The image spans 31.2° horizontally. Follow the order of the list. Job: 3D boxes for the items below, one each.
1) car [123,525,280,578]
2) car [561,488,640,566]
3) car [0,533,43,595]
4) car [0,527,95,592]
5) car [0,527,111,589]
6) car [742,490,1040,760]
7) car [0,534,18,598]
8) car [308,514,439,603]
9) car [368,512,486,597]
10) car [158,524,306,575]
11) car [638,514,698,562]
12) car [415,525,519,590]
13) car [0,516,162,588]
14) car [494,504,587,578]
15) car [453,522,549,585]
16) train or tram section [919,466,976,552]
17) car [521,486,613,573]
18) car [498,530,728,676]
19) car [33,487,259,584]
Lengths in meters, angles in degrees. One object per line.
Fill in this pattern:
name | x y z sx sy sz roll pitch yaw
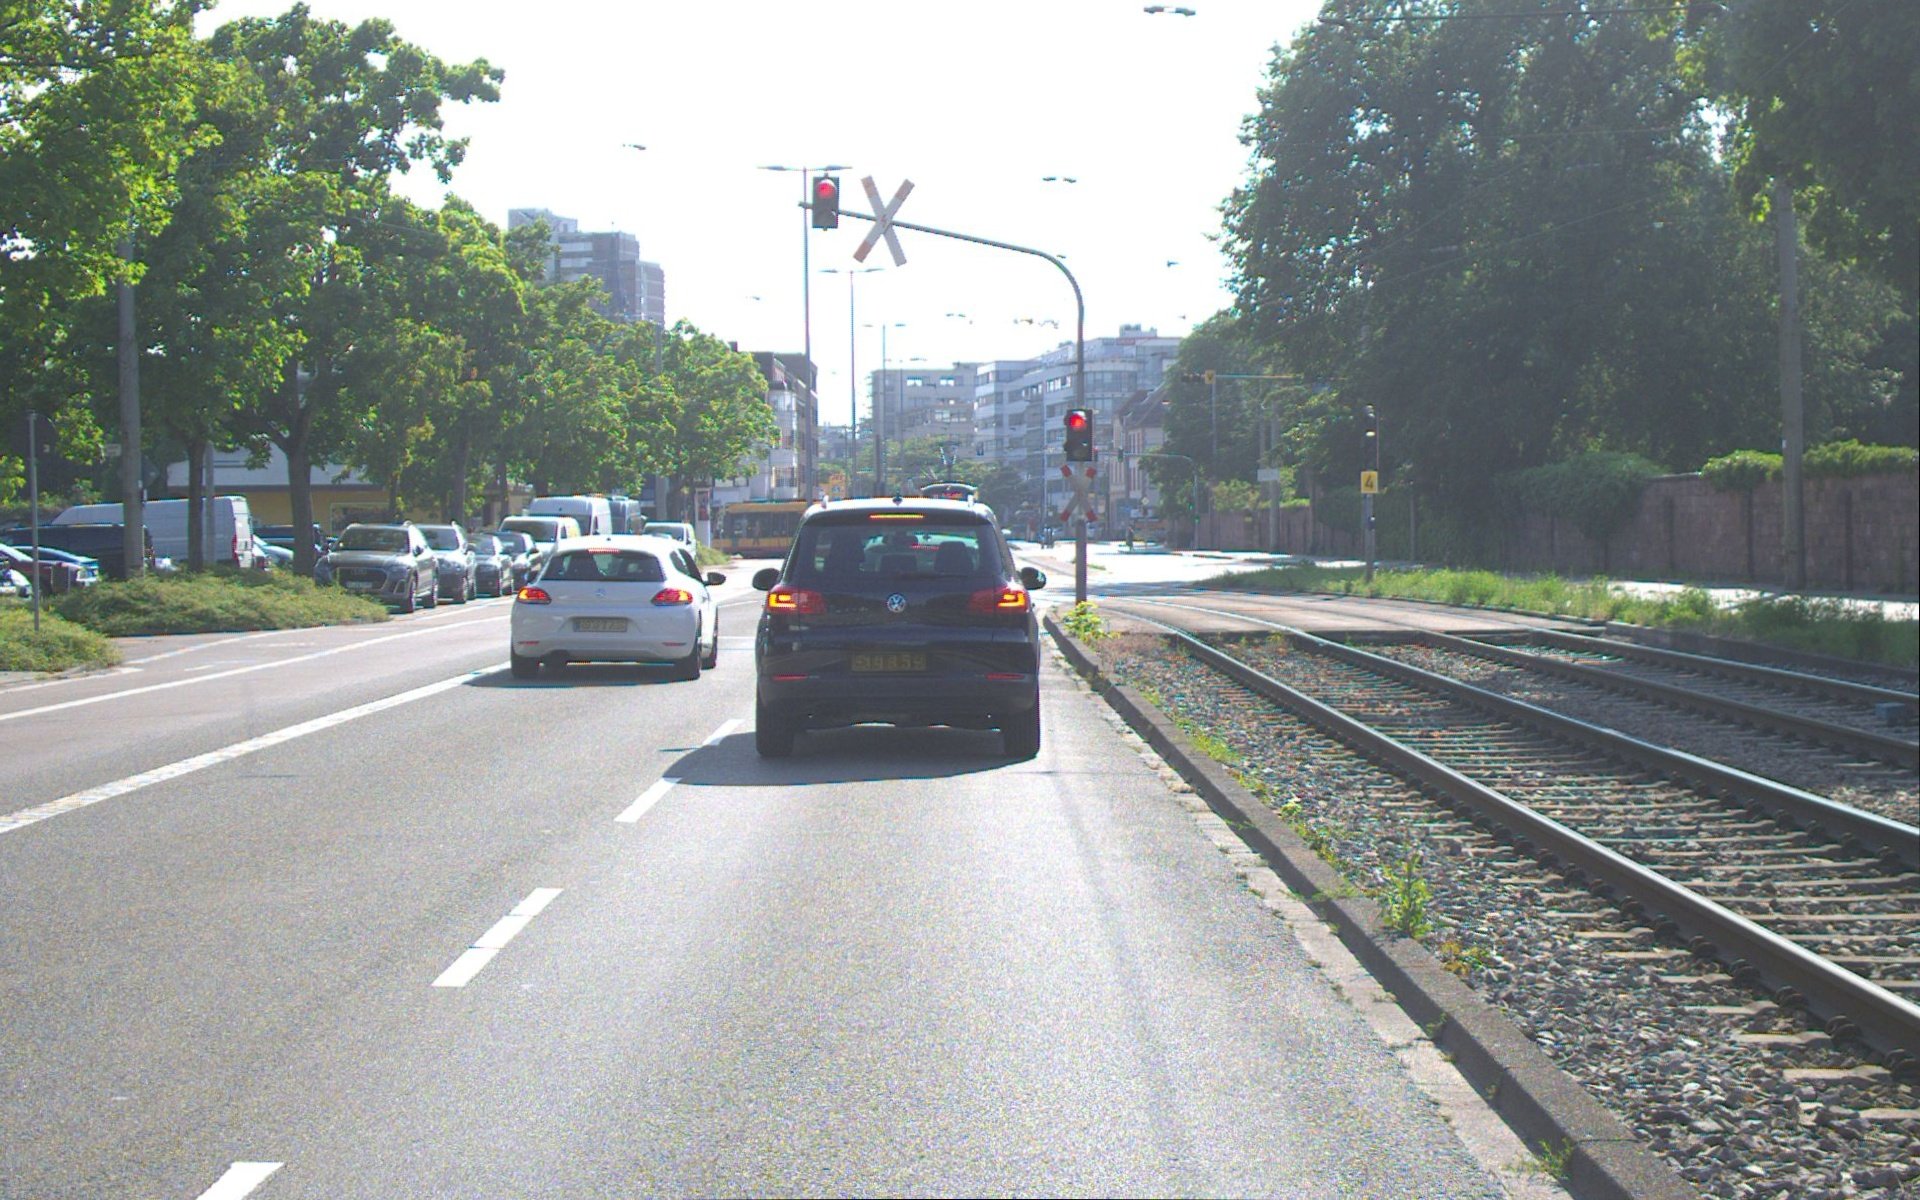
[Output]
car | -20.995 -1.356 95.228 3.986 1.392 1.738 -1 1 -3
car | -10.776 -2.197 103.343 1.732 2.261 4.645 -1 1 2
car | -22.011 -0.750 74.222 3.986 1.302 1.738 -1 1 -3
car | -21.430 -0.898 76.434 3.986 1.392 1.738 -1 1 -3
car | -21.812 -0.967 79.399 3.986 1.392 1.738 -1 1 -3
car | -0.412 0.114 22.985 1.811 1.639 4.000 0 1 0
car | -21.651 -0.672 70.933 3.986 1.302 1.738 -1 1 -3
car | -11.364 -0.826 66.789 1.732 1.652 4.000 -1 1 2
car | -11.174 -0.981 72.343 1.732 1.688 4.000 -1 2 2
car | -21.312 -1.487 100.702 3.986 1.392 1.738 -1 1 -3
car | -10.720 -2.306 126.380 1.732 1.688 4.000 -1 2 2
car | -11.245 -0.995 78.657 1.732 1.384 3.735 -1 2 2
car | -21.523 -1.150 81.782 4.617 1.646 2.049 -1 1 -1
car | -10.939 -1.560 89.850 1.732 1.853 4.489 -1 1 2
car | -11.262 -1.157 84.541 1.732 1.445 3.735 -1 2 2
train or tram section | -0.494 -3.941 148.907 2.326 3.558 8.900 -1 1 0
car | -10.996 -1.990 96.519 1.863 2.339 4.985 -1 1 2
car | -3.384 -0.011 34.211 1.865 1.343 4.000 0 1 0
car | -21.223 -1.691 89.792 5.375 2.415 2.088 -1 1 1
